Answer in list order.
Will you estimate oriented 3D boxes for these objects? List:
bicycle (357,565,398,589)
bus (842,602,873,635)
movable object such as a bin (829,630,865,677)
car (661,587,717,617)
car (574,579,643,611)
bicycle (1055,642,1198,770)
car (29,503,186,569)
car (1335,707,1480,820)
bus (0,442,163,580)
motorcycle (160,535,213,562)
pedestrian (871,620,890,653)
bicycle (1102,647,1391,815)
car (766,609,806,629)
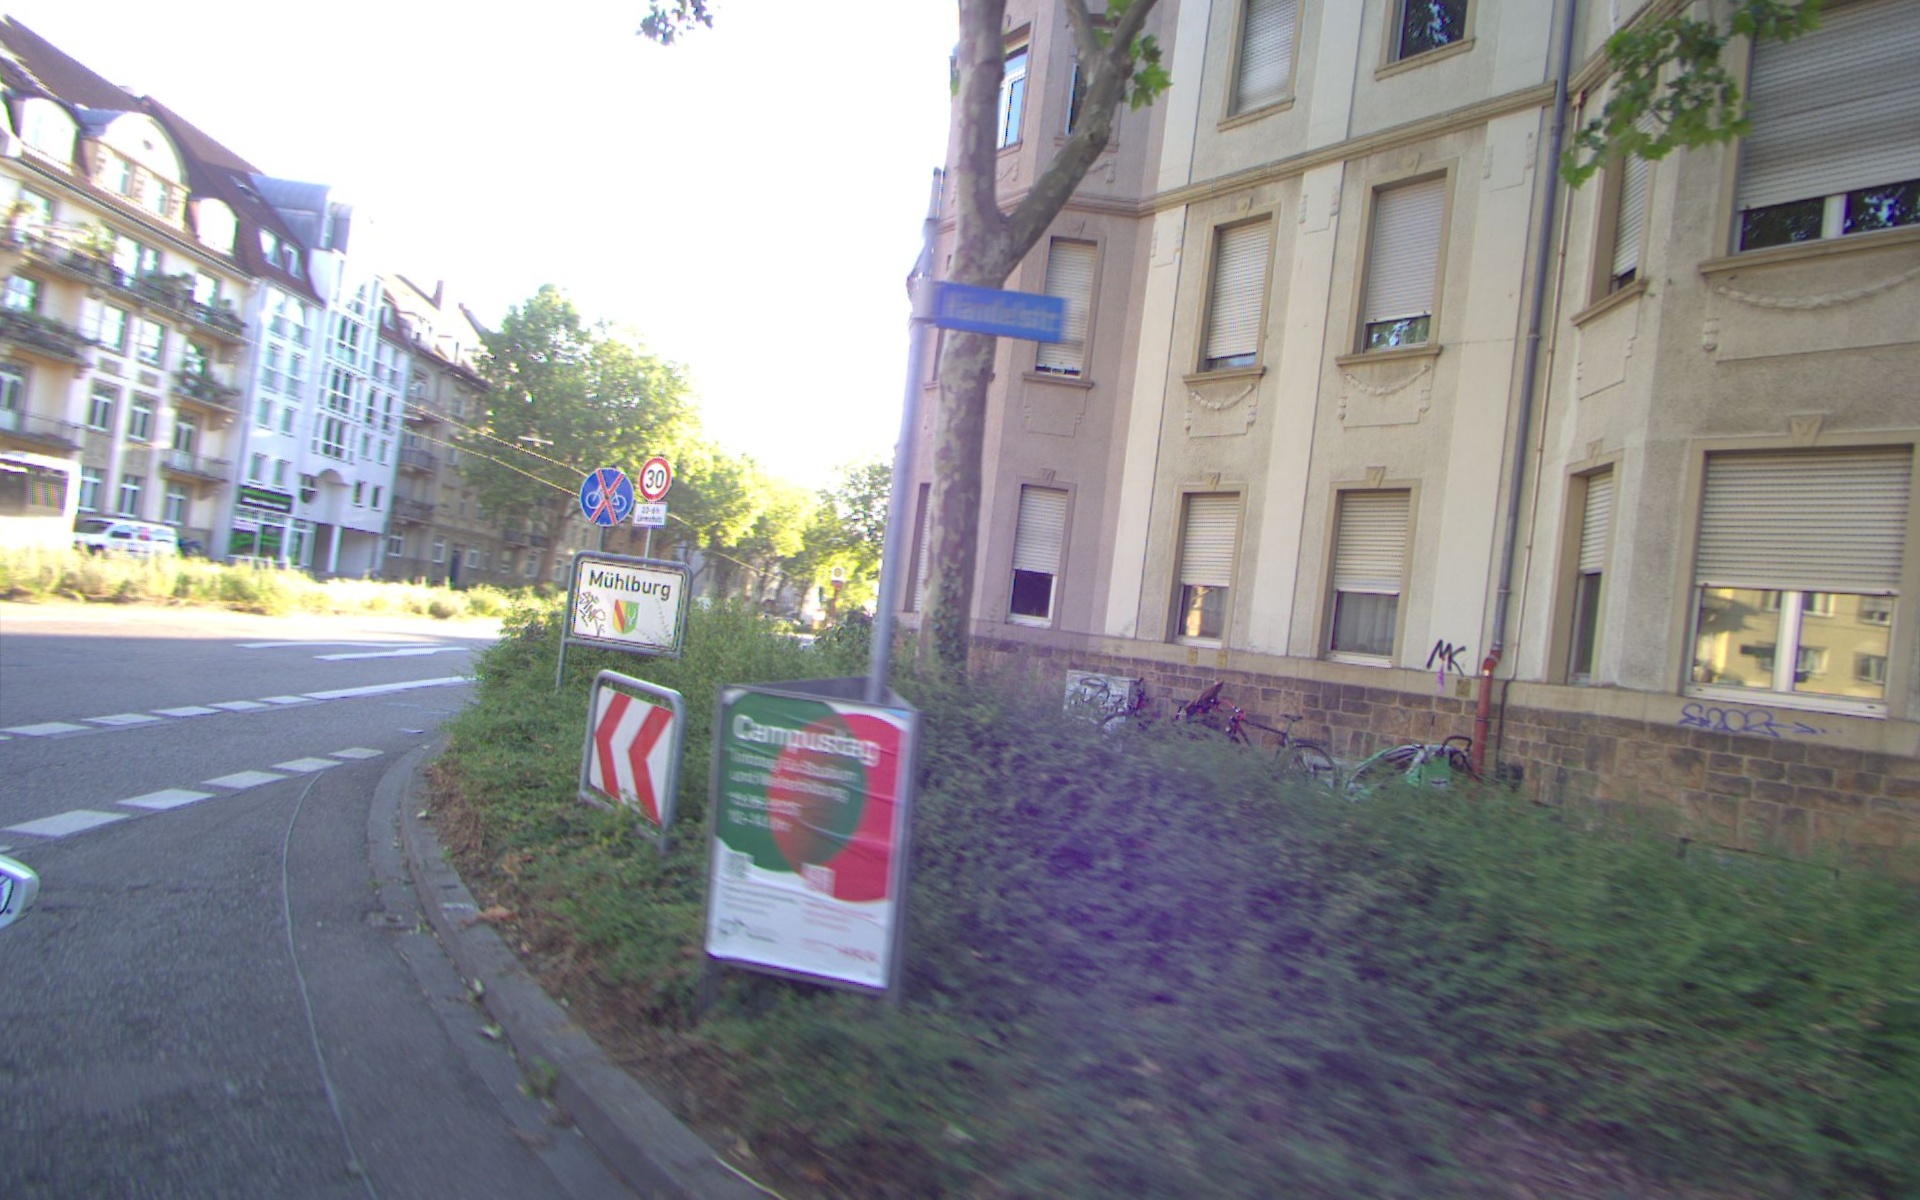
[{"bbox_3d":[-33.413,-1.300,57.705,0.745,1.044,1.898,12,-1,14],"label":"bicycle"},{"bbox_3d":[-12.110,2.239,119.750,2.791,3.271,8.189,7,-3,-2],"label":"bus"},{"bbox_3d":[-2.729,1.299,24.335,0.560,1.058,0.660,7,-2,13],"label":"movable object such as a bin"},{"bbox_3d":[-30.306,0.277,112.490,5.474,2.558,2.102,9,-2,-42],"label":"car"},{"bbox_3d":[-30.311,-0.419,86.968,5.213,2.090,1.702,9,-2,-42],"label":"car"},{"bbox_3d":[2.151,1.362,13.262,0.368,1.411,1.910,8,-1,-41],"label":"bicycle"},{"bbox_3d":[-33.328,-2.451,39.525,1.875,1.806,4.659,7,-3,2],"label":"car"},{"bbox_3d":[4.685,1.674,10.552,0.919,0.960,1.052,3,1,-42],"label":"car"},{"bbox_3d":[-28.158,-2.879,27.120,3.205,3.411,11.992,7,-3,1],"label":"bus"},{"bbox_3d":[-36.865,-2.443,47.987,0.520,1.032,2.421,10,-2,0],"label":"motorcycle"},{"bbox_3d":[-4.649,2.134,59.021,0.816,1.833,1.151,7,-2,-1],"label":"pedestrian"},{"bbox_3d":[3.295,1.483,11.958,0.948,1.488,3.120,9,-3,-44],"label":"bicycle"},{"bbox_3d":[-31.909,3.508,184.452,6.865,2.708,2.177,9,-2,-20],"label":"car"}]
